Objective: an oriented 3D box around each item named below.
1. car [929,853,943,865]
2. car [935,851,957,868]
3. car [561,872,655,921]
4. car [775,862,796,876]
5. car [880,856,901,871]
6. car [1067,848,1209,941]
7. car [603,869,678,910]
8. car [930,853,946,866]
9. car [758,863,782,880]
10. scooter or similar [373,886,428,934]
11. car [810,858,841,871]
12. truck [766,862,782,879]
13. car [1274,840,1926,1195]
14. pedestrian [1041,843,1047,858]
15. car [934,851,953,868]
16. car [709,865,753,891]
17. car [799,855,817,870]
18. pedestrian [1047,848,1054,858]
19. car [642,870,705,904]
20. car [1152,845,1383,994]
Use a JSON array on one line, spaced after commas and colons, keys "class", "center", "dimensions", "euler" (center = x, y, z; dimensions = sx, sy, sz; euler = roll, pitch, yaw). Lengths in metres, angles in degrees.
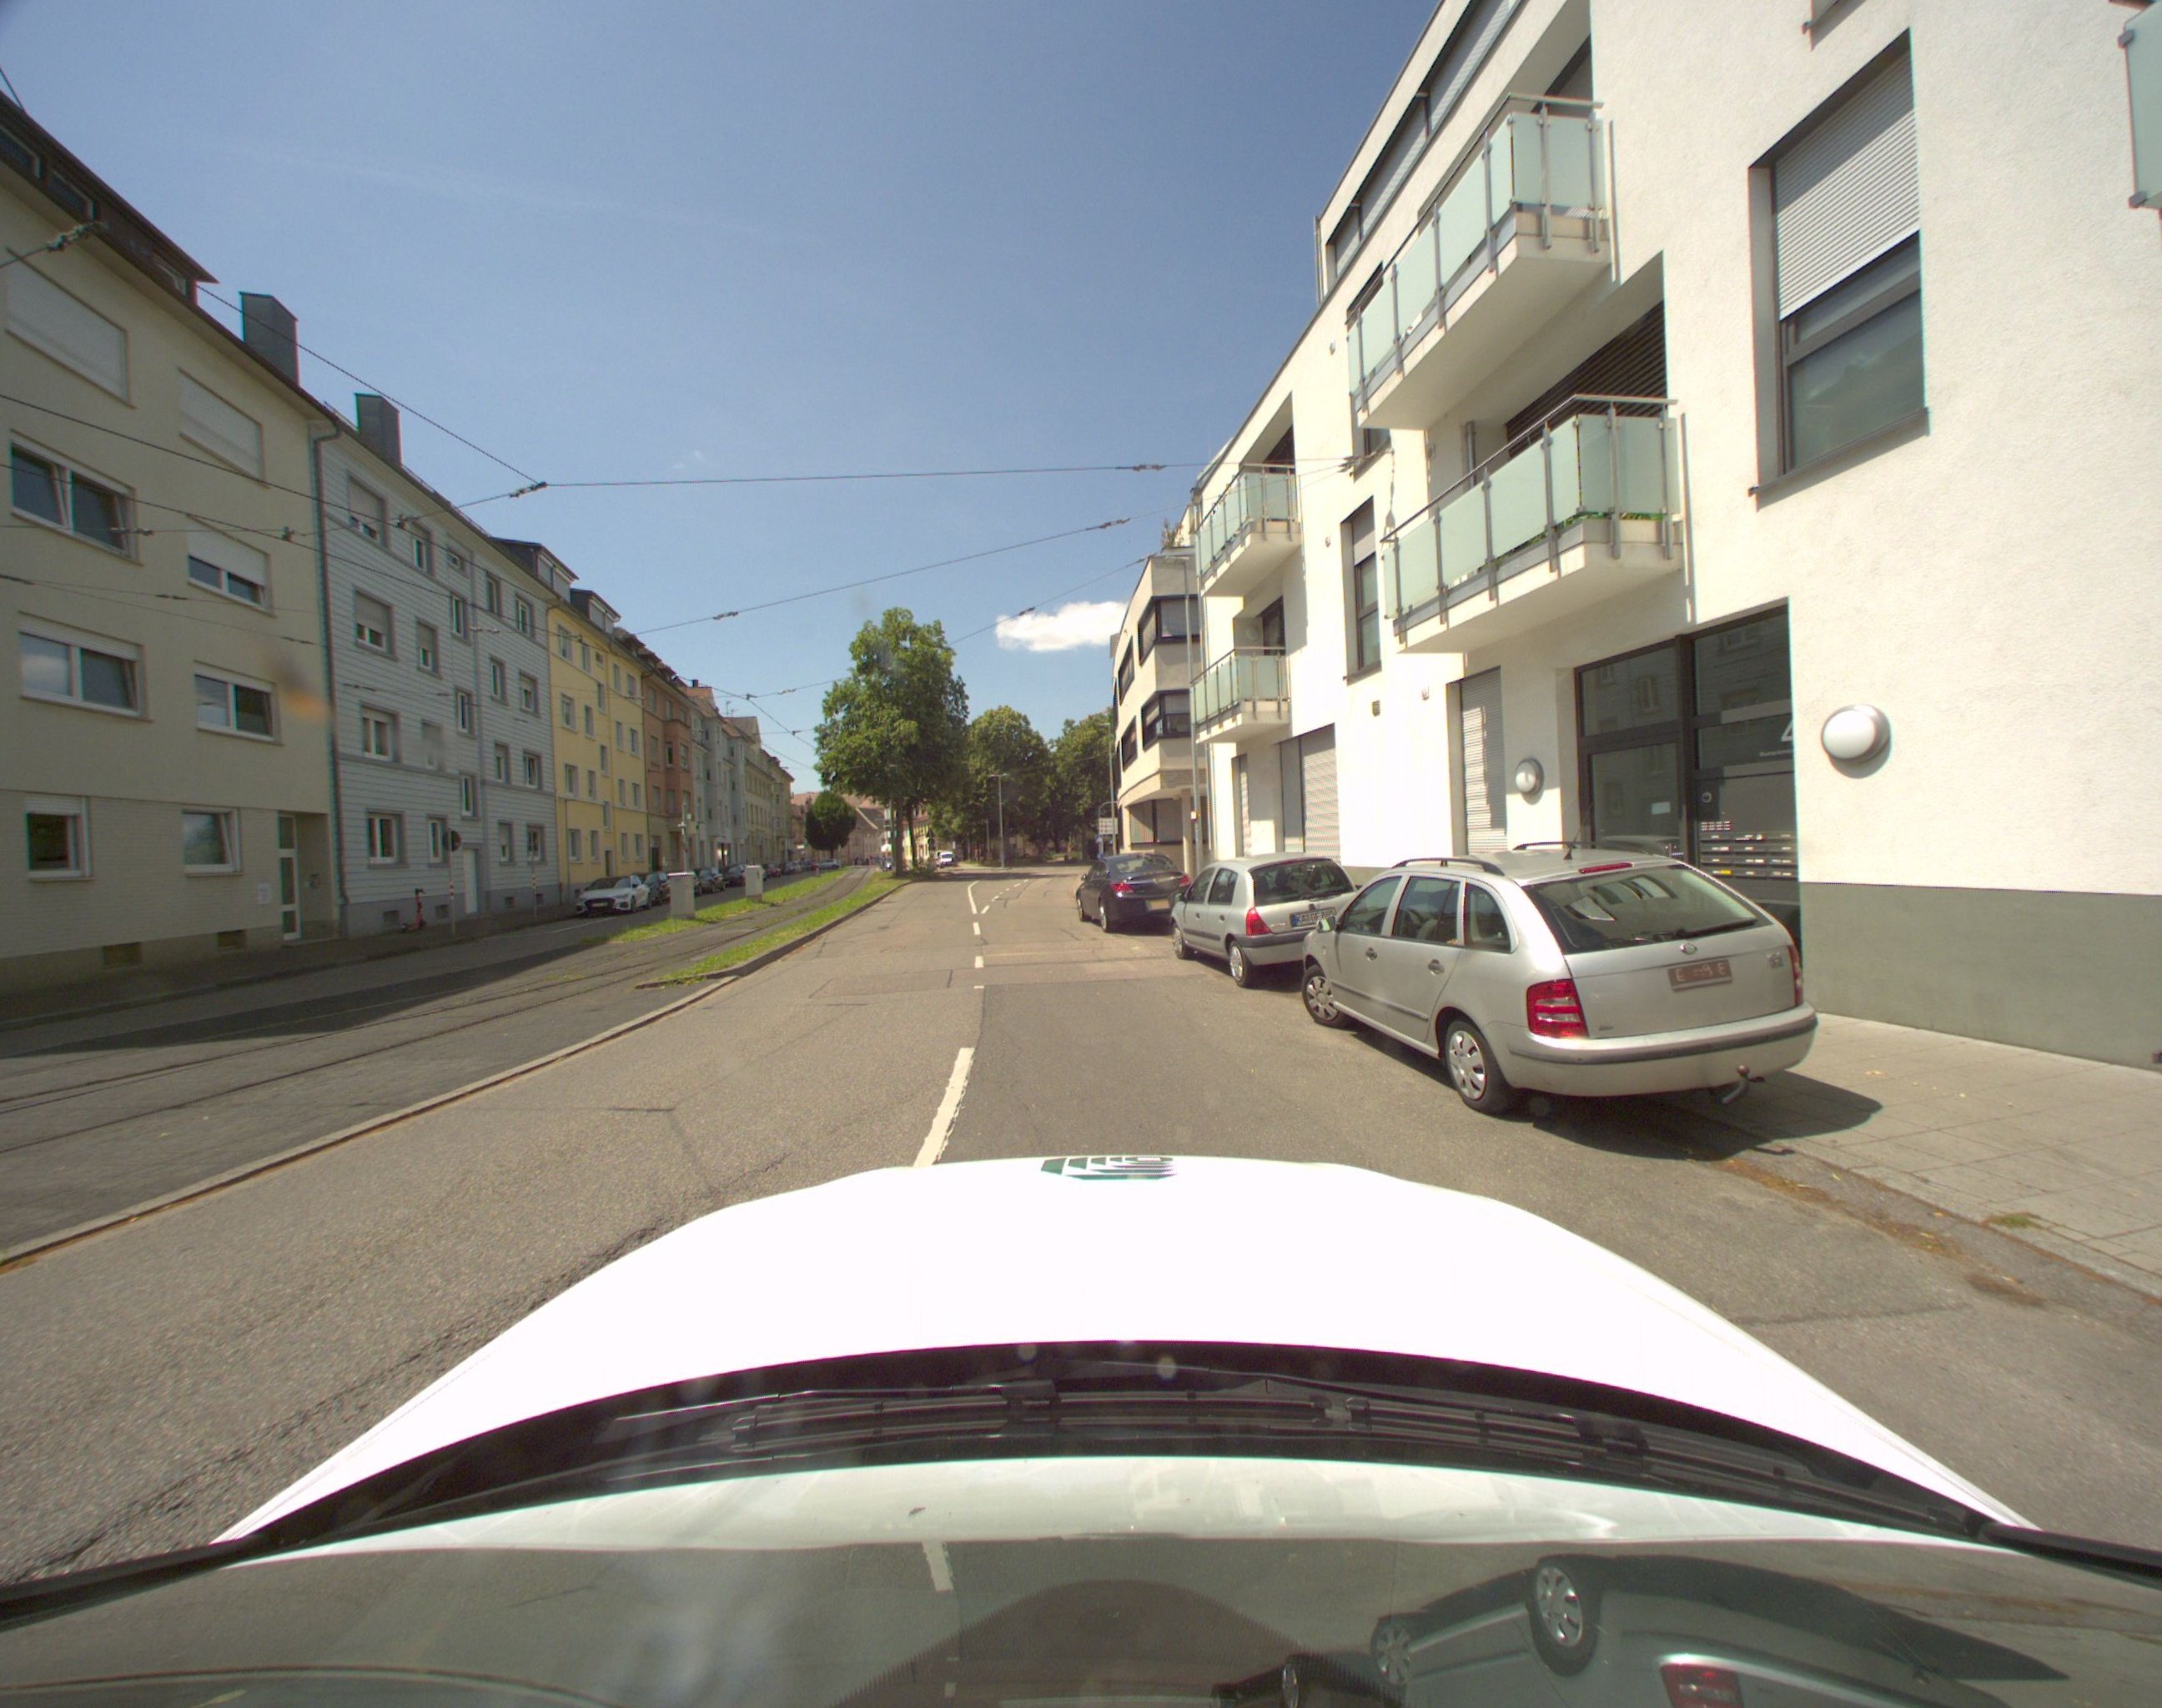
[{"class": "car", "center": [-20.444, 0.677, 114.586], "dimensions": [1.785, 1.693, 4.182], "euler": [-2, 0, -12]}, {"class": "car", "center": [-15.331, 0.610, 92.248], "dimensions": [1.997, 1.826, 4.401], "euler": [-2, 0, -14]}, {"class": "car", "center": [-17.732, 1.535, 30.794], "dimensions": [1.932, 1.451, 4.352], "euler": [-5, 1, -16]}, {"class": "car", "center": [-32.688, 1.636, 90.286], "dimensions": [1.689, 1.360, 3.839], "euler": [-4, 1, -14]}, {"class": "car", "center": [-19.626, 0.958, 83.649], "dimensions": [1.907, 1.534, 4.220], "euler": [-1, 0, -16]}, {"class": "car", "center": [1.024, 0.755, 17.160], "dimensions": [1.800, 1.509, 4.531], "euler": [-6, 0, -10]}, {"class": "car", "center": [-19.327, 1.520, 35.963], "dimensions": [1.932, 1.505, 4.302], "euler": [-4, 1, -16]}, {"class": "car", "center": [-18.957, 0.691, 107.702], "dimensions": [1.785, 1.624, 4.466], "euler": [-2, 0, -12]}, {"class": "car", "center": [-28.821, 1.614, 75.629], "dimensions": [1.574, 1.451, 3.608], "euler": [-4, 1, -14]}, {"class": "scooter or similar", "center": [-19.164, 1.562, 22.960], "dimensions": [0.639, 1.223, 1.315], "euler": [-1, 1, -14]}, {"class": "car", "center": [-37.727, 1.558, 120.155], "dimensions": [4.215, 1.504, 1.992], "euler": [-4, 1, -18]}, {"class": "truck", "center": [-30.064, 1.584, 79.742], "dimensions": [1.128, 1.494, 2.581], "euler": [-4, 1, -15]}, {"class": "car", "center": [2.910, 0.744, 5.778], "dimensions": [1.724, 1.433, 4.036], "euler": [-6, 0, -5]}, {"class": "pedestrian", "center": [-4.825, -0.428, 106.215], "dimensions": [0.745, 1.910, 0.684], "euler": [-2, 2, 1]}, {"class": "car", "center": [-17.009, 0.659, 100.399], "dimensions": [2.051, 2.002, 5.226], "euler": [-2, 0, -12]}, {"class": "car", "center": [-23.789, 1.572, 55.515], "dimensions": [1.930, 1.490, 4.840], "euler": [-4, 1, -14]}, {"class": "car", "center": [-38.229, 1.233, 114.045], "dimensions": [1.856, 1.911, 4.748], "euler": [-4, 1, -14]}, {"class": "pedestrian", "center": [-3.965, -0.076, 106.168], "dimensions": [0.902, 1.252, 1.149], "euler": [-2, 2, 1]}, {"class": "car", "center": [-20.277, 1.608, 40.664], "dimensions": [1.833, 1.400, 4.123], "euler": [-4, 1, -14]}, {"class": "car", "center": [2.200, 0.718, 10.673], "dimensions": [1.592, 1.433, 3.695], "euler": [-6, 0, -9]}]
